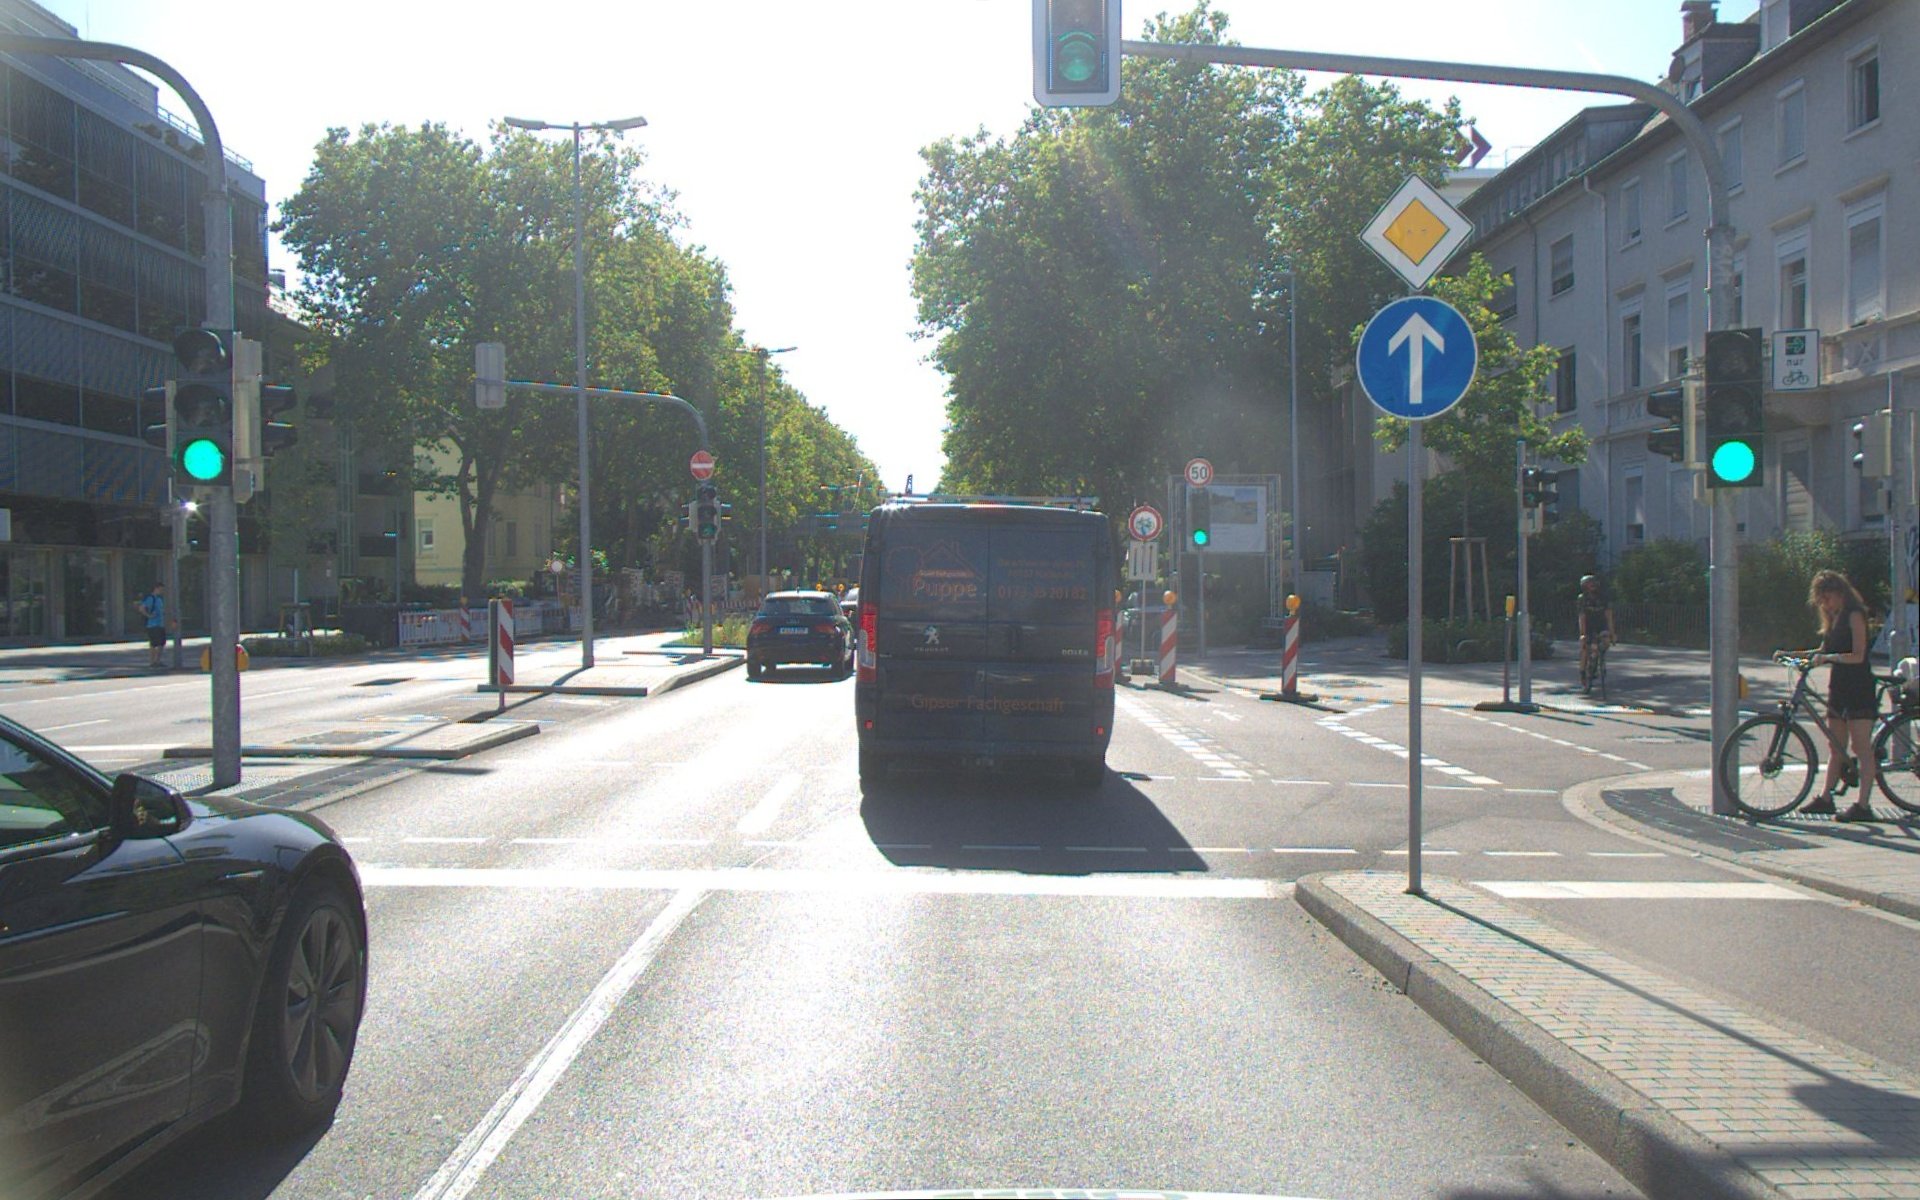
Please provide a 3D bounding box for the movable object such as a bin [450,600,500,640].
[{"bbox_3d":[-17.069,0.688,58.236,1.381,1.361,1.157,-1,0,2],"label":"movable object such as a bin"}]

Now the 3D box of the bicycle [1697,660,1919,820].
[{"bbox_3d":[6.259,0.967,11.572,1.922,1.043,0.605,1,1,-1],"label":"bicycle"}]

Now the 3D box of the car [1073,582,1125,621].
[{"bbox_3d":[5.654,0.052,67.779,1.727,1.534,4.250,0,0,-1],"label":"car"}]

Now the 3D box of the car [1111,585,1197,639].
[{"bbox_3d":[5.629,0.310,48.552,1.815,1.505,4.940,0,1,-2],"label":"car"}]

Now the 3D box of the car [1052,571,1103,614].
[{"bbox_3d":[5.612,-0.372,79.456,1.984,1.980,5.272,-1,0,-1],"label":"car"}]

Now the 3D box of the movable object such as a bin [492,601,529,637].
[{"bbox_3d":[-16.763,0.685,61.661,0.959,1.293,1.540,0,1,-1],"label":"movable object such as a bin"}]

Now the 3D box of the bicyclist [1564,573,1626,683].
[{"bbox_3d":[8.946,0.381,23.340,0.708,1.526,0.872,-1,1,15],"label":"bicyclist"}]

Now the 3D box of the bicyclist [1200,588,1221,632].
[{"bbox_3d":[10.530,0.411,69.530,0.709,1.852,1.071,-1,0,0],"label":"bicyclist"}]

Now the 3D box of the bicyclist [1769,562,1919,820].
[{"bbox_3d":[6.201,0.610,11.622,0.591,1.738,0.858,-1,1,0],"label":"bicyclist"}]

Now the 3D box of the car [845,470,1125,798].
[{"bbox_3d":[0.145,0.230,14.098,2.053,2.396,3.932,0,0,-1],"label":"car"}]

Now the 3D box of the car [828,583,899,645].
[{"bbox_3d":[-2.408,0.320,42.024,1.711,1.432,3.999,1,1,-2],"label":"car"}]

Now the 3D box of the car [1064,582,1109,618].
[{"bbox_3d":[5.536,-0.011,72.768,1.623,1.567,4.128,0,0,0],"label":"car"}]

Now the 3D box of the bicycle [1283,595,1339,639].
[{"bbox_3d":[8.467,0.397,39.865,0.577,1.022,2.125,0,1,34],"label":"bicycle"}]

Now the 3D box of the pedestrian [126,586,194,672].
[{"bbox_3d":[-16.676,0.589,34.495,0.846,1.740,1.013,-1,1,7],"label":"pedestrian"}]

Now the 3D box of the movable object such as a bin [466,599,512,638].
[{"bbox_3d":[-16.888,0.663,59.324,1.381,1.361,0.936,-1,0,2],"label":"movable object such as a bin"}]

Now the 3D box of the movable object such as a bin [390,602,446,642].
[{"bbox_3d":[-17.347,0.692,52.963,1.365,1.224,1.242,0,0,2],"label":"movable object such as a bin"}]

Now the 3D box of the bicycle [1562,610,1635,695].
[{"bbox_3d":[8.984,0.722,23.329,0.674,1.117,1.688,-1,1,11],"label":"bicycle"}]

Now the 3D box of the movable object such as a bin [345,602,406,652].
[{"bbox_3d":[-17.266,0.787,48.889,1.091,1.412,1.856,-1,0,1],"label":"movable object such as a bin"}]

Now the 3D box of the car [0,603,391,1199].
[{"bbox_3d":[-2.680,0.739,2.812,1.886,1.436,4.625,-1,0,-1],"label":"car"}]

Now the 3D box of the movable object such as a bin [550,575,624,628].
[{"bbox_3d":[-17.506,0.046,77.948,1.952,2.318,5.600,-2,0,2],"label":"movable object such as a bin"}]

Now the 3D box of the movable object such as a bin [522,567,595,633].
[{"bbox_3d":[-17.363,-0.010,71.768,2.104,2.753,5.351,0,0,-3],"label":"movable object such as a bin"}]

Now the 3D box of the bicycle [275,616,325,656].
[{"bbox_3d":[-18.467,0.994,46.341,0.614,1.055,1.879,0,1,1],"label":"bicycle"}]

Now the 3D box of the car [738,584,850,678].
[{"bbox_3d":[-2.861,0.496,29.200,1.711,1.431,3.999,1,2,-2],"label":"car"}]

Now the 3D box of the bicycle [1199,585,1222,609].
[{"bbox_3d":[10.508,-0.149,69.438,0.766,0.983,1.823,-1,1,2],"label":"bicycle"}]

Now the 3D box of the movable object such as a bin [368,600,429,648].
[{"bbox_3d":[-17.374,0.731,51.224,1.189,1.412,1.856,-1,0,1],"label":"movable object such as a bin"}]

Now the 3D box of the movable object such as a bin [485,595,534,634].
[{"bbox_3d":[-17.281,0.557,63.477,1.610,1.447,1.252,-1,0,-26],"label":"movable object such as a bin"}]
